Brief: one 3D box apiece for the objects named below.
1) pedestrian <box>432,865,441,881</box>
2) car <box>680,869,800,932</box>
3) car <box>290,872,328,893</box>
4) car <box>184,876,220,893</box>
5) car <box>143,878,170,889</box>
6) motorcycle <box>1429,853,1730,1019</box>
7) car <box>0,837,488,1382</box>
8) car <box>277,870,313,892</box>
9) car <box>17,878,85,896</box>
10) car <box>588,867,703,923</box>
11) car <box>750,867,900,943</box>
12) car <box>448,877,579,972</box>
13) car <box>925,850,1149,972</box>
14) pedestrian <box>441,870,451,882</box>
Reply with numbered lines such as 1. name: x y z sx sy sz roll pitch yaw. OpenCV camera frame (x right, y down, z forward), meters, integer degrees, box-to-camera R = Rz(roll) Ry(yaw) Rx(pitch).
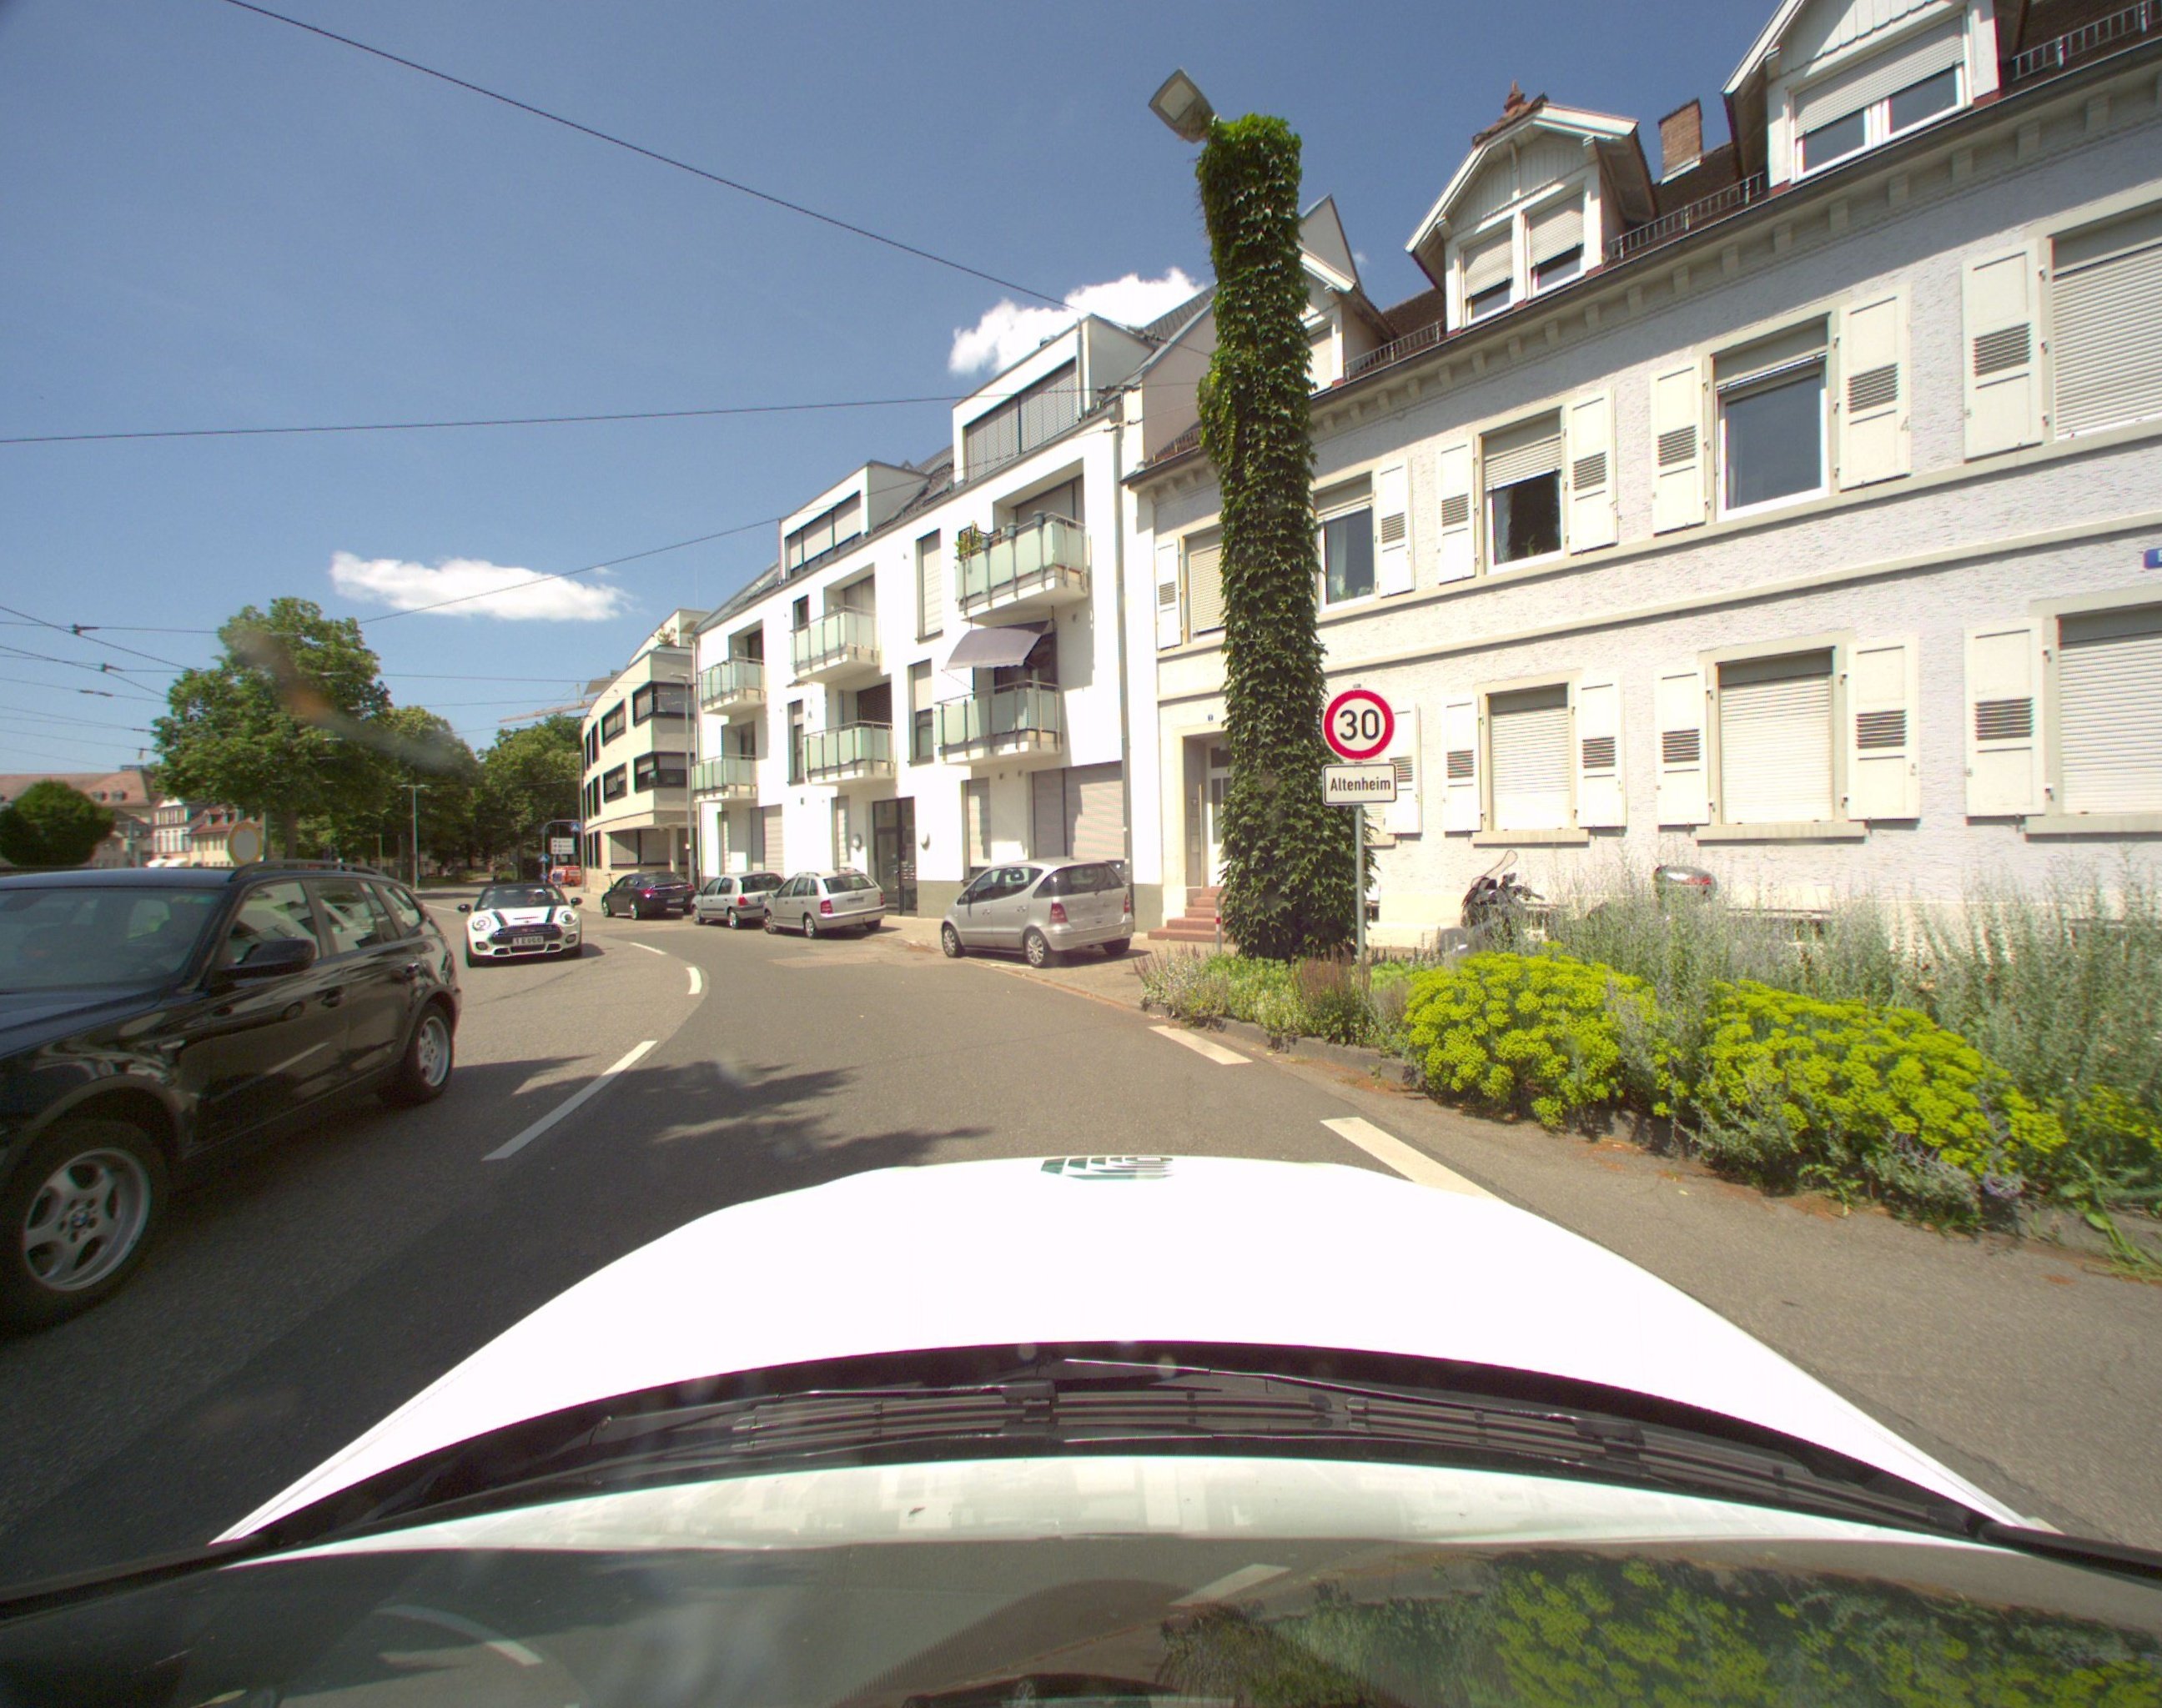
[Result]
1. pedestrian: -74.515 2.194 94.157 0.753 1.910 0.676 -1 1 -37
2. car: -9.357 1.224 22.234 3.660 1.432 1.608 -2 3 44
3. car: -72.210 2.652 76.129 4.365 1.826 2.013 -1 0 39
4. car: -85.311 2.963 79.003 4.188 1.534 1.922 -1 -1 37
5. car: -126.814 4.071 111.727 3.948 1.486 1.878 -1 0 32
6. motorcycle: 4.695 0.694 7.852 0.807 1.352 2.310 -1 0 -41
7. car: -4.847 0.850 4.072 1.863 1.632 4.299 -3 0 -20
8. car: -78.599 2.661 81.454 5.181 2.002 2.069 -1 0 40
9. car: -106.986 3.429 84.634 1.978 1.504 4.244 -1 2 35
10. car: -14.343 1.319 26.735 4.489 1.509 1.817 -2 3 42
11. car: -6.044 1.112 19.001 1.742 1.432 3.994 -7 3 -42
12. car: -10.639 1.214 15.354 1.786 1.464 3.707 -2 -1 -34
13. car: -0.851 0.850 13.413 1.741 1.610 3.756 -5 1 -39
14. pedestrian: -73.805 2.555 94.644 0.913 1.252 1.136 -1 1 -36
